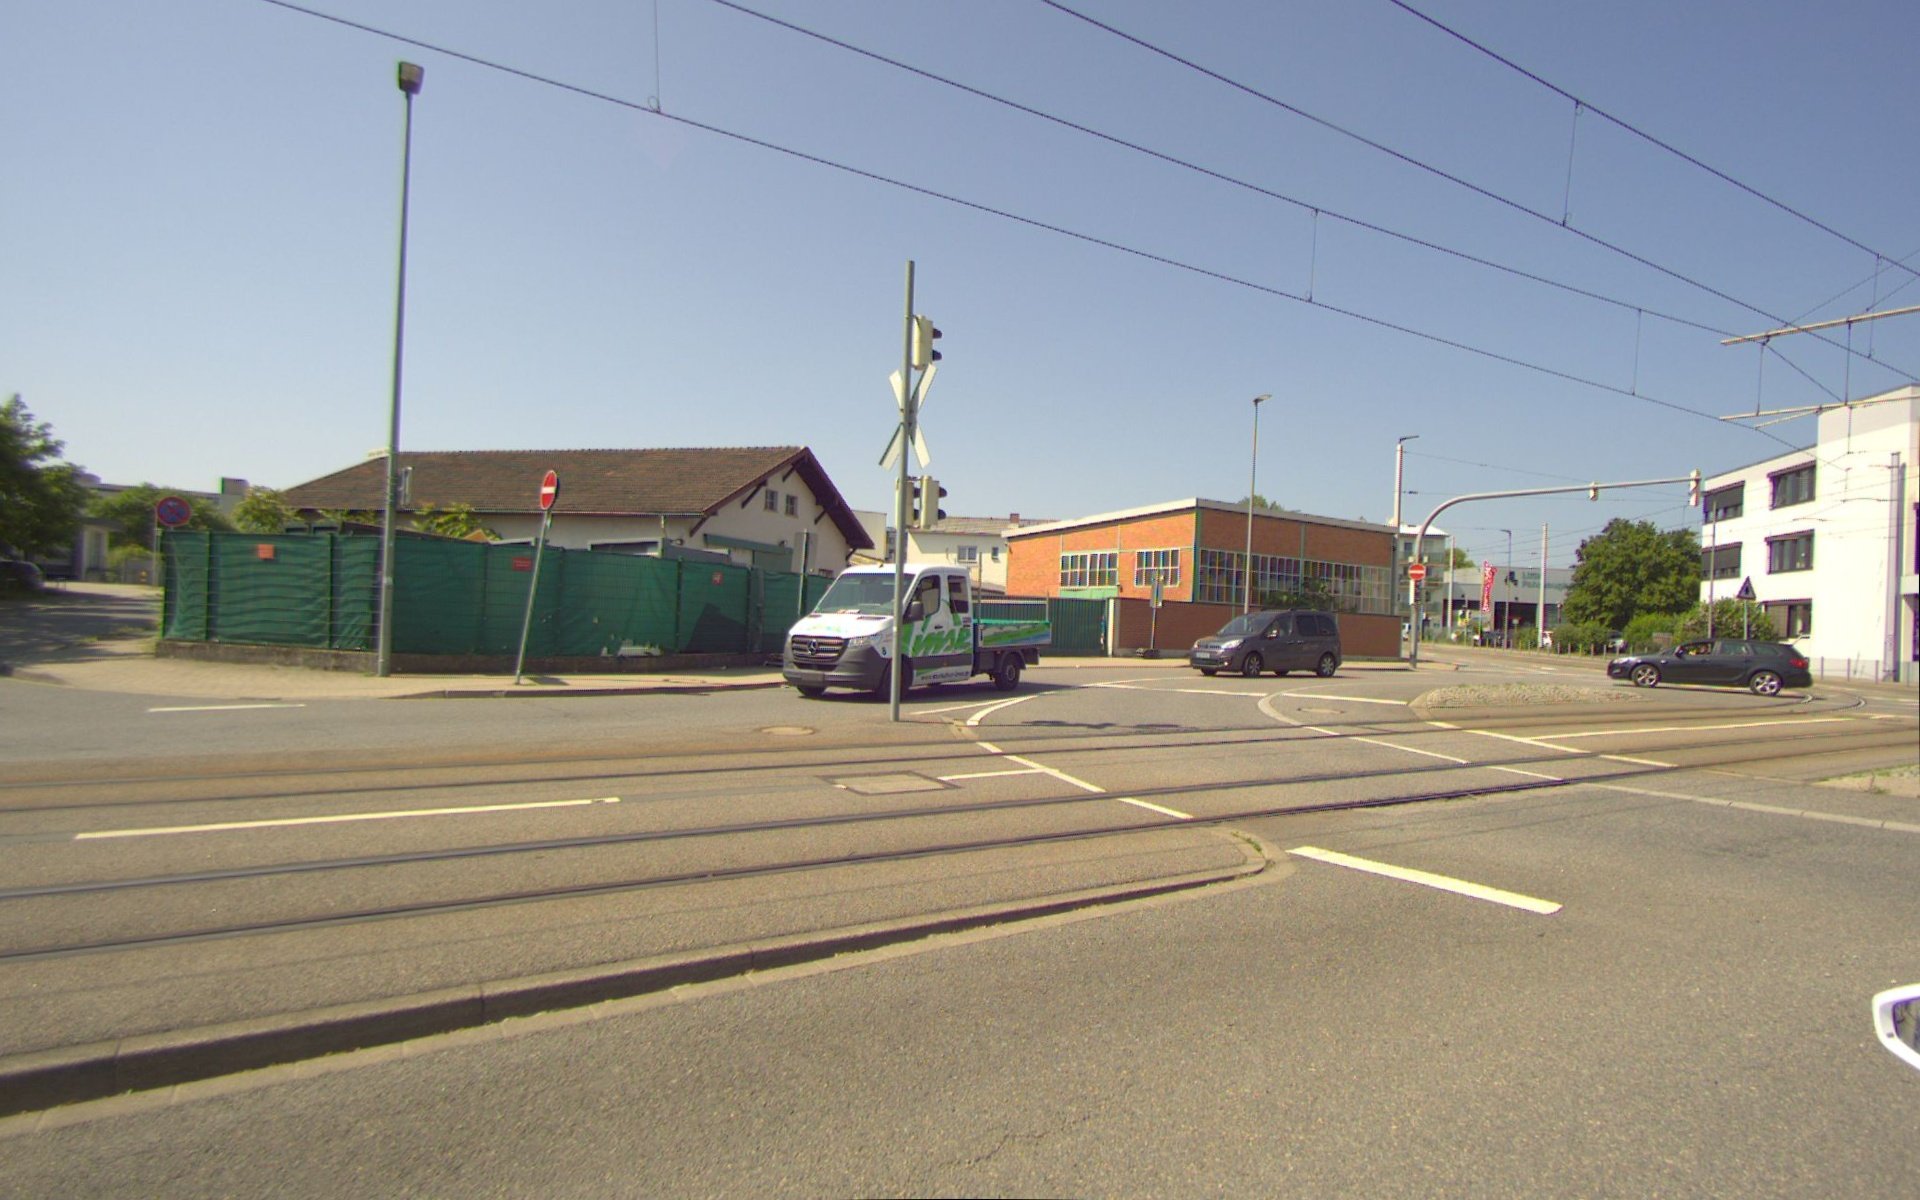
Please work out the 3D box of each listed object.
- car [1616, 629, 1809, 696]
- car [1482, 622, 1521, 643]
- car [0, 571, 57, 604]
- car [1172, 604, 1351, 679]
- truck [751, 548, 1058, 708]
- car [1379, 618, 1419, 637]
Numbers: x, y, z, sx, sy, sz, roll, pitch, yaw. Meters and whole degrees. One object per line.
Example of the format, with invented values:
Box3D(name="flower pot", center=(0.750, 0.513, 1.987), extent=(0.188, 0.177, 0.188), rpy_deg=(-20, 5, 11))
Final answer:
Box3D(name="car", center=(20.916, 1.696, 28.087), extent=(4.175, 1.576, 1.962), rpy_deg=(1, -2, 38))
Box3D(name="car", center=(49.406, 2.970, 91.722), extent=(1.959, 1.806, 4.004), rpy_deg=(1, -2, 11))
Box3D(name="car", center=(-49.275, -0.684, 51.897), extent=(3.656, 1.628, 1.559), rpy_deg=(2, -1, -33))
Box3D(name="car", center=(8.007, 1.114, 26.658), extent=(4.351, 1.842, 1.977), rpy_deg=(2, -1, -26))
Box3D(name="truck", center=(-0.689, 0.474, 18.149), extent=(2.172, 2.368, 6.373), rpy_deg=(1, -1, 33))
Box3D(name="car", center=(47.899, 3.025, 109.568), extent=(1.966, 2.040, 3.989), rpy_deg=(2, -2, -14))
